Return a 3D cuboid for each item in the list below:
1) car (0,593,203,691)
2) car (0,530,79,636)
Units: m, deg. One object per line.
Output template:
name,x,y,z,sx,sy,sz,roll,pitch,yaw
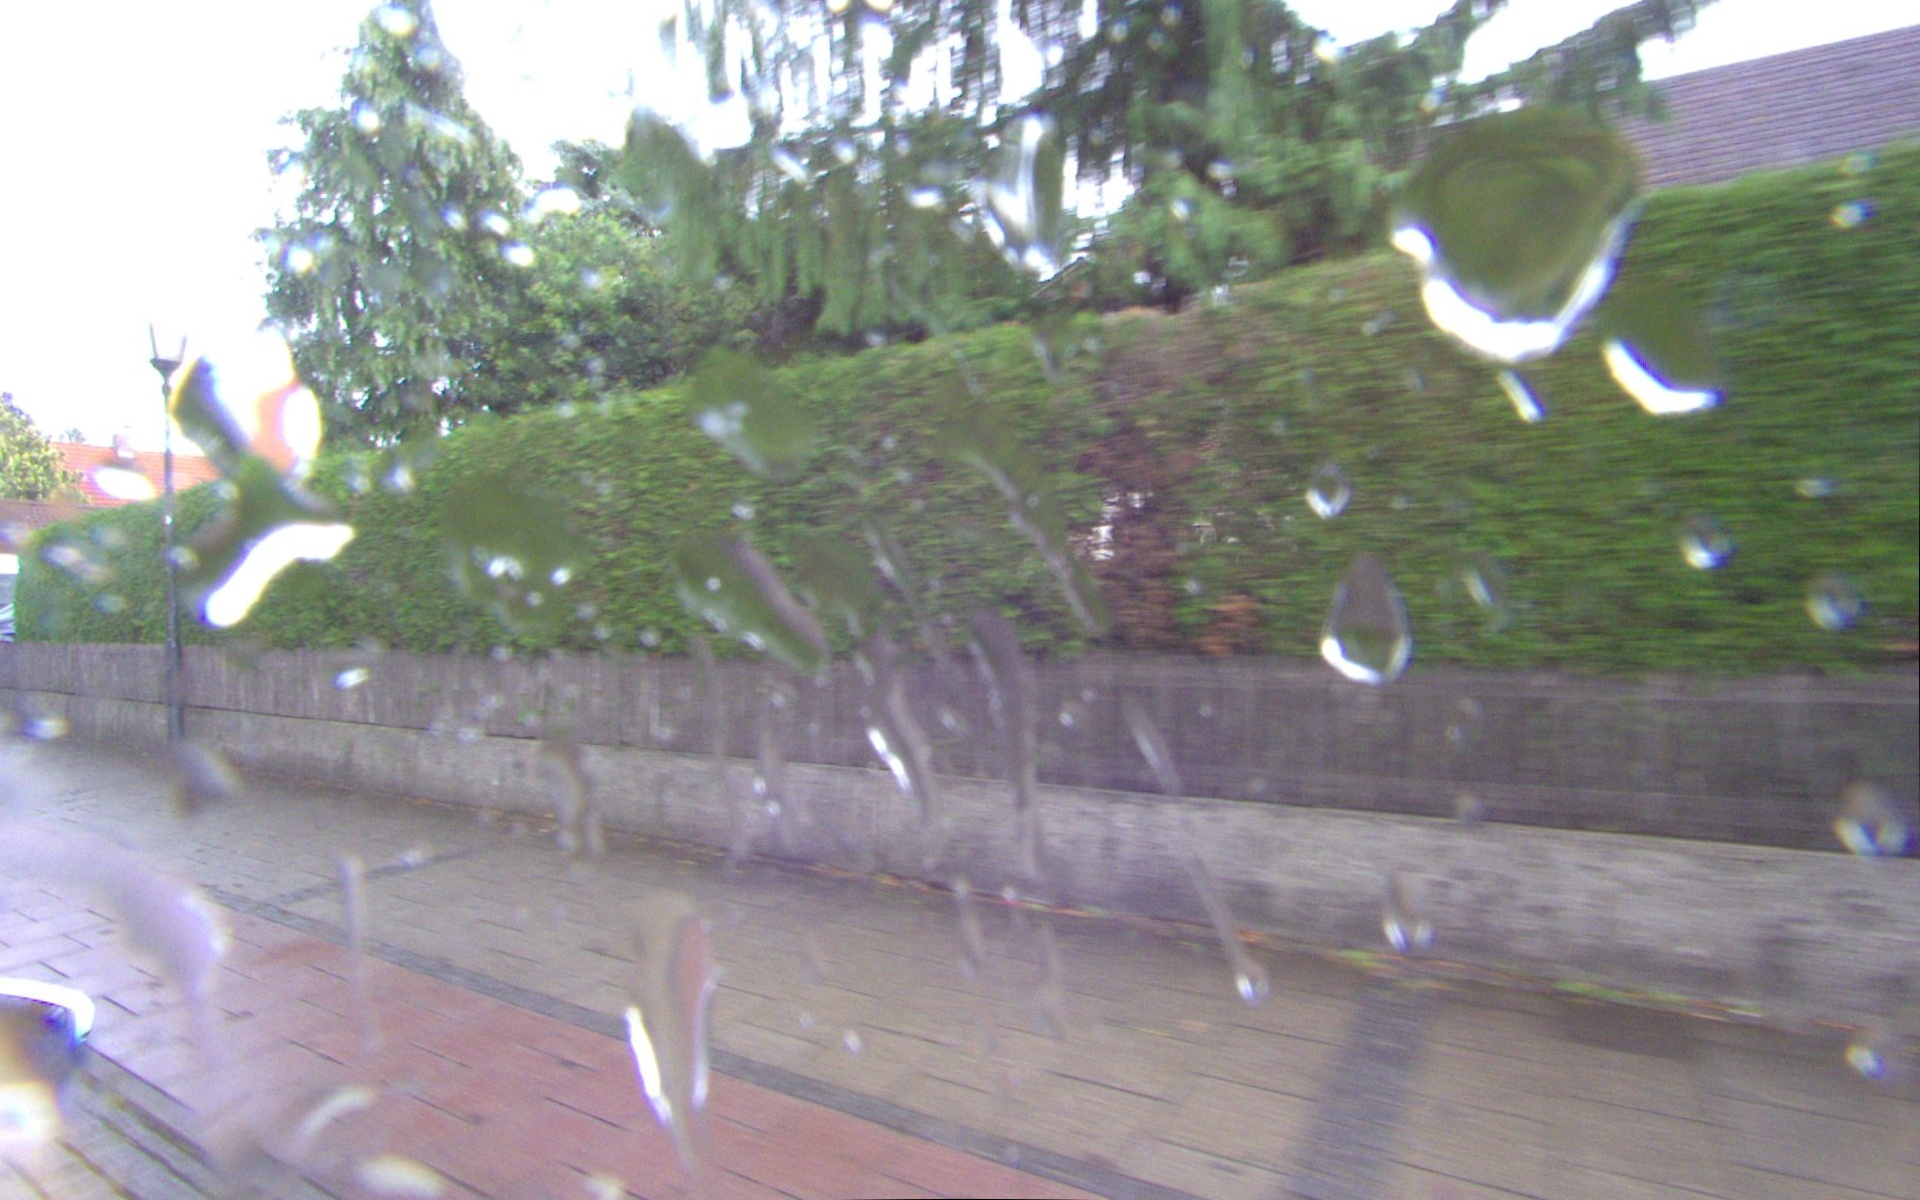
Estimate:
car,-17.853,0.762,19.971,1.669,1.776,4.087,2,2,30
car,-22.309,-0.310,22.279,4.867,2.201,1.996,-1,-2,20
